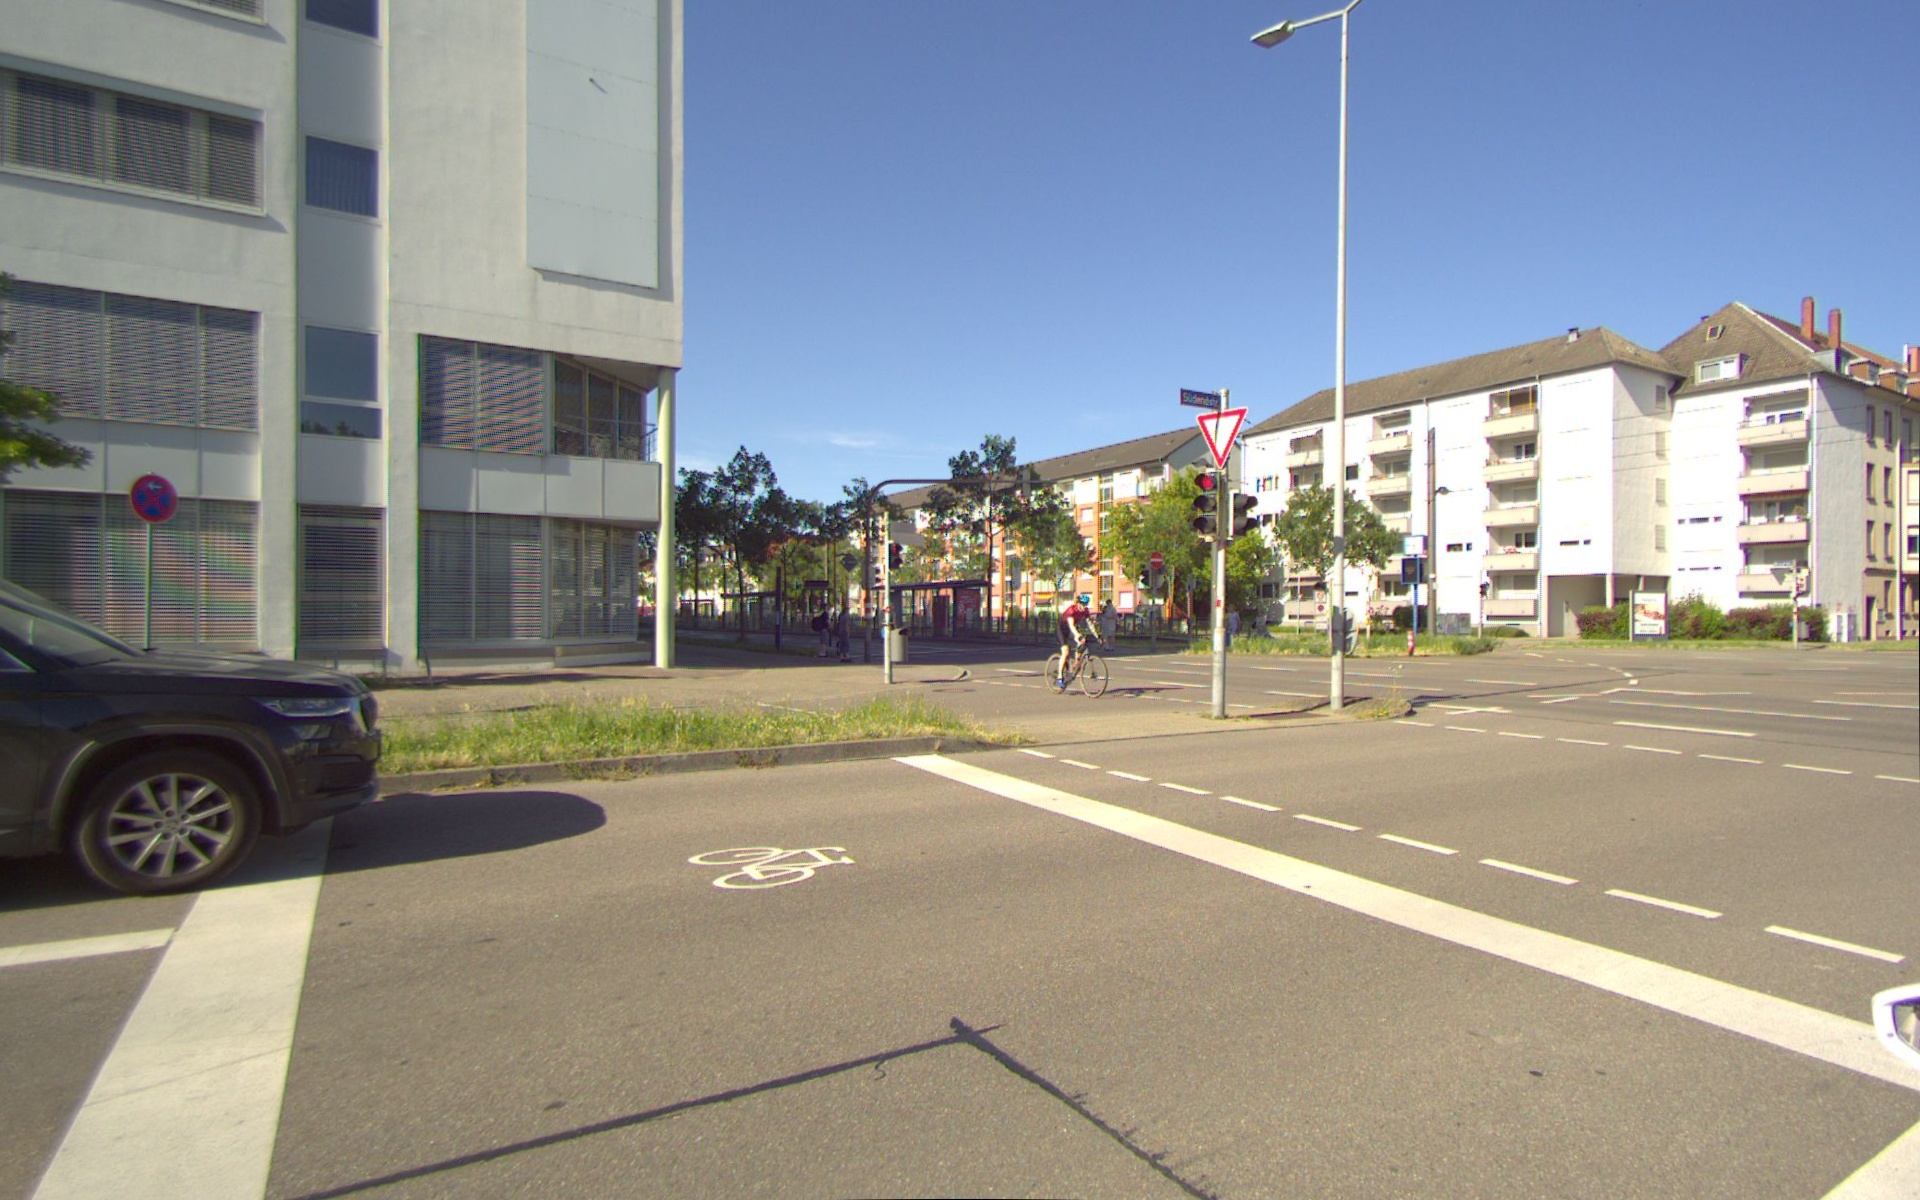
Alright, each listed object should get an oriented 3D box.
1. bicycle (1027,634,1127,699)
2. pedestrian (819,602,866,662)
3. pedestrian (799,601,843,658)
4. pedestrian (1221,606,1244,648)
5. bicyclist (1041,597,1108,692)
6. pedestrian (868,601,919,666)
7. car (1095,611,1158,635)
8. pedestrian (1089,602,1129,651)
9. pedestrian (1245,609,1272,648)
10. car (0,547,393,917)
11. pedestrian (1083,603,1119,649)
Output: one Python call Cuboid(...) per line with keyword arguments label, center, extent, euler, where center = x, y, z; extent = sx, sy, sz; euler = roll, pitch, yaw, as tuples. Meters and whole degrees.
Cuboid(label="bicycle", center=(2.017, 1.133, 17.568), extent=(0.668, 1.069, 1.791), euler=(1, -1, -39))
Cuboid(label="pedestrian", center=(-3.462, 0.933, 29.539), extent=(1.143, 1.749, 0.805), euler=(1, -1, -36))
Cuboid(label="pedestrian", center=(-4.421, 0.929, 31.865), extent=(1.143, 1.749, 0.805), euler=(1, -1, -36))
Cuboid(label="pedestrian", center=(11.366, 1.129, 41.930), extent=(0.797, 1.749, 1.155), euler=(0, -1, 10))
Cuboid(label="bicyclist", center=(1.999, 0.769, 17.592), extent=(0.668, 1.607, 0.993), euler=(1, -1, -39))
Cuboid(label="pedestrian", center=(-1.829, 0.910, 27.599), extent=(1.143, 1.749, 0.805), euler=(1, -1, -36))
Cuboid(label="car", center=(11.749, 1.626, 71.210), extent=(4.310, 1.451, 1.694), euler=(2, 1, 7))
Cuboid(label="pedestrian", center=(5.449, 0.965, 36.819), extent=(1.143, 1.794, 0.914), euler=(1, -1, -36))
Cuboid(label="pedestrian", center=(12.300, 1.170, 41.393), extent=(0.850, 1.554, 0.719), euler=(1, -1, -36))
Cuboid(label="car", center=(-5.305, 0.553, 4.829), extent=(4.428, 1.650, 1.744), euler=(1, 1, -32))
Cuboid(label="pedestrian", center=(5.430, 0.988, 38.575), extent=(1.143, 1.749, 0.805), euler=(1, -1, -36))
